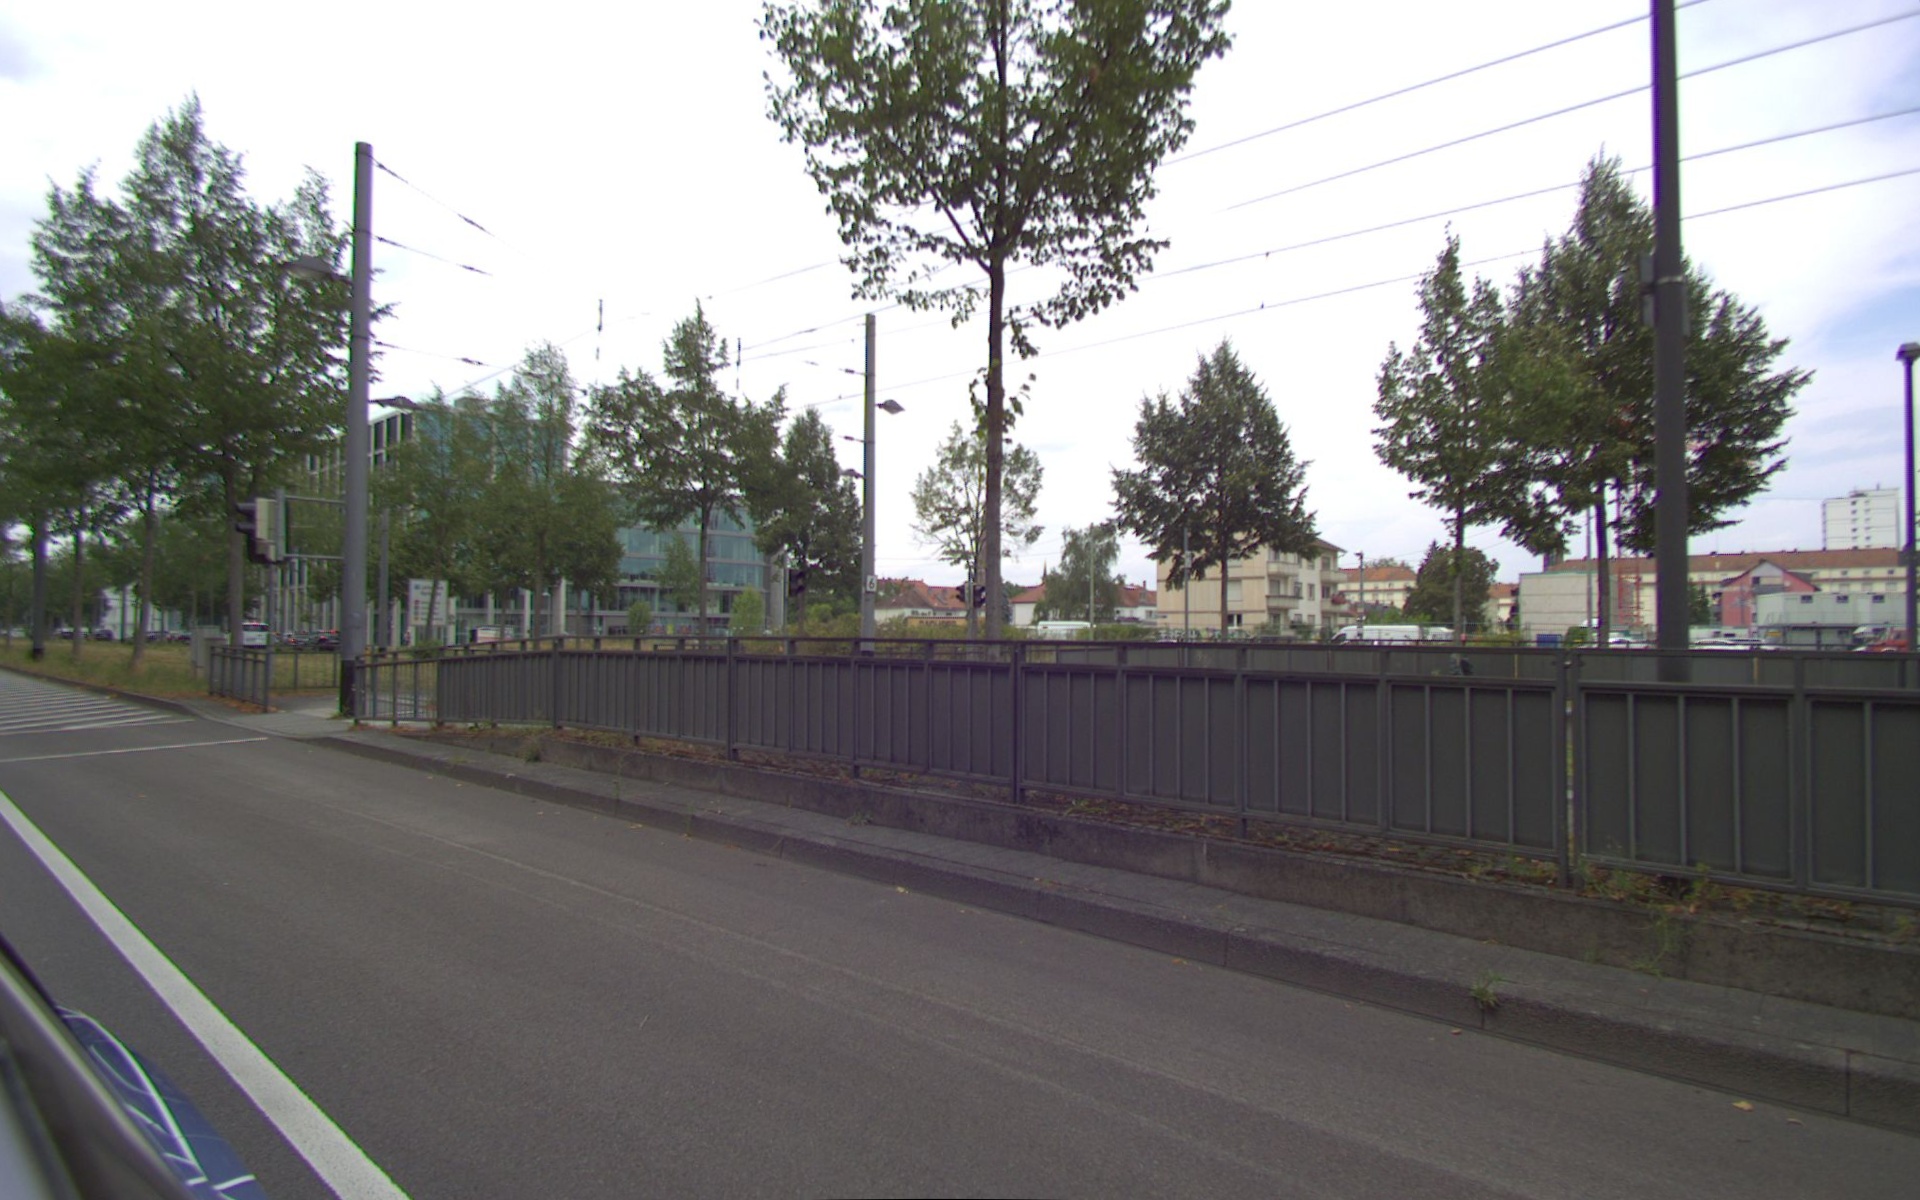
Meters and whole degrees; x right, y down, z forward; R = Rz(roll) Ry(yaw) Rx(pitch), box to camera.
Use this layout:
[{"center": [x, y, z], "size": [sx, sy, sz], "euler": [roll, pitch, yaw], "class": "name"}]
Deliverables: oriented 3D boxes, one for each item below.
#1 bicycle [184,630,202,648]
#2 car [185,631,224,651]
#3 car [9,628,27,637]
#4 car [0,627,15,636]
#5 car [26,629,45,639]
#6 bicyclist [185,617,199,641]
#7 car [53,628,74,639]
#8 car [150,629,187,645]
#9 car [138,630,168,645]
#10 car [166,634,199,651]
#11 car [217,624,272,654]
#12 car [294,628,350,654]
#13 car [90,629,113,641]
[{"center": [-64.913, 3.319, 85.612], "size": [2.356, 1.499, 0.702], "euler": [-2, -1, 40], "class": "bicycle"}, {"center": [-59.927, 3.250, 80.240], "size": [3.863, 1.508, 1.730], "euler": [-2, -3, 42], "class": "car"}, {"center": [-148.615, 5.096, 159.648], "size": [3.865, 1.468, 1.729], "euler": [-2, -3, 43], "class": "car"}, {"center": [-158.538, 5.256, 168.360], "size": [3.865, 1.468, 1.729], "euler": [-2, -3, 43], "class": "car"}, {"center": [-137.308, 5.057, 150.277], "size": [3.865, 1.468, 1.729], "euler": [-2, -3, 43], "class": "car"}, {"center": [-65.181, 2.441, 85.854], "size": [0.994, 2.029, 0.733], "euler": [-1, 0, 39], "class": "bicyclist"}, {"center": [-120.774, 4.564, 136.329], "size": [3.865, 1.468, 1.729], "euler": [-2, -3, 43], "class": "car"}, {"center": [-72.850, 3.413, 93.147], "size": [3.998, 1.429, 1.973], "euler": [-1, -2, 41], "class": "car"}, {"center": [-80.227, 3.709, 100.581], "size": [3.865, 1.468, 1.729], "euler": [-2, -3, 43], "class": "car"}, {"center": [-68.103, 3.705, 88.676], "size": [3.866, 1.468, 1.729], "euler": [-2, -3, 44], "class": "car"}, {"center": [-49.666, 2.684, 70.237], "size": [5.094, 1.959, 1.973], "euler": [-2, -3, 41], "class": "car"}, {"center": [-42.792, 2.717, 67.833], "size": [4.687, 1.669, 1.809], "euler": [-1, -2, 40], "class": "car"}, {"center": [-104.112, 4.261, 122.711], "size": [3.865, 1.468, 1.729], "euler": [-2, -3, 43], "class": "car"}]
